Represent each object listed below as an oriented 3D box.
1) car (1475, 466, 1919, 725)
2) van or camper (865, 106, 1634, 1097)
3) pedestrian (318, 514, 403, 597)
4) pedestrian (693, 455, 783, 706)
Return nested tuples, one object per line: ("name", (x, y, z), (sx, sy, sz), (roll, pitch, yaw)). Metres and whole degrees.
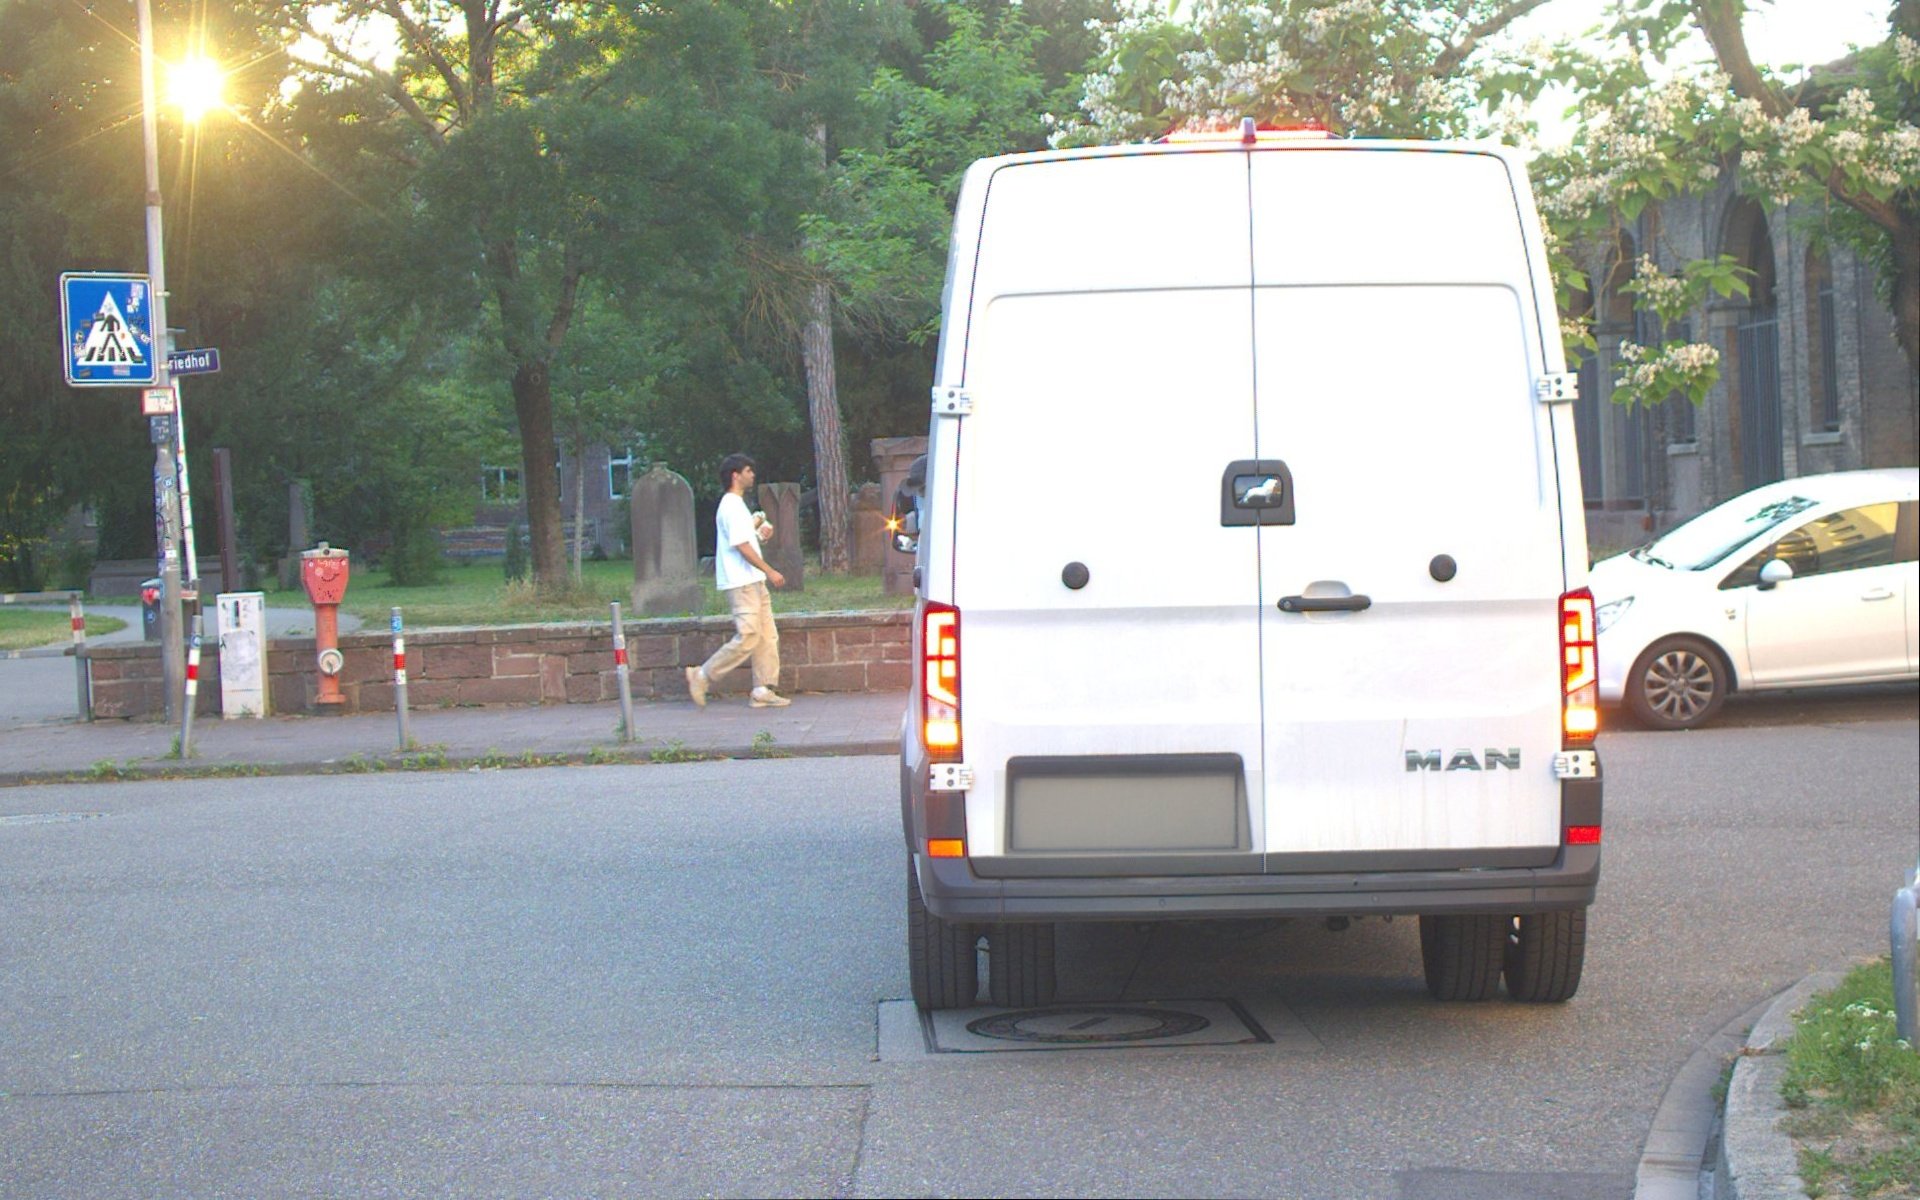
("car", (5.529, -0.077, 22.691), (3.854, 1.568, 1.958), (-2, 2, -3))
("van or camper", (0.848, -0.074, 12.400), (1.993, 2.609, 6.403), (1, 1, 1))
("pedestrian", (-10.776, -0.806, 61.881), (1.328, 1.439, 1.046), (-2, 1, -2))
("pedestrian", (-1.614, -0.149, 25.035), (0.593, 1.803, 0.621), (-1, 1, 0))
